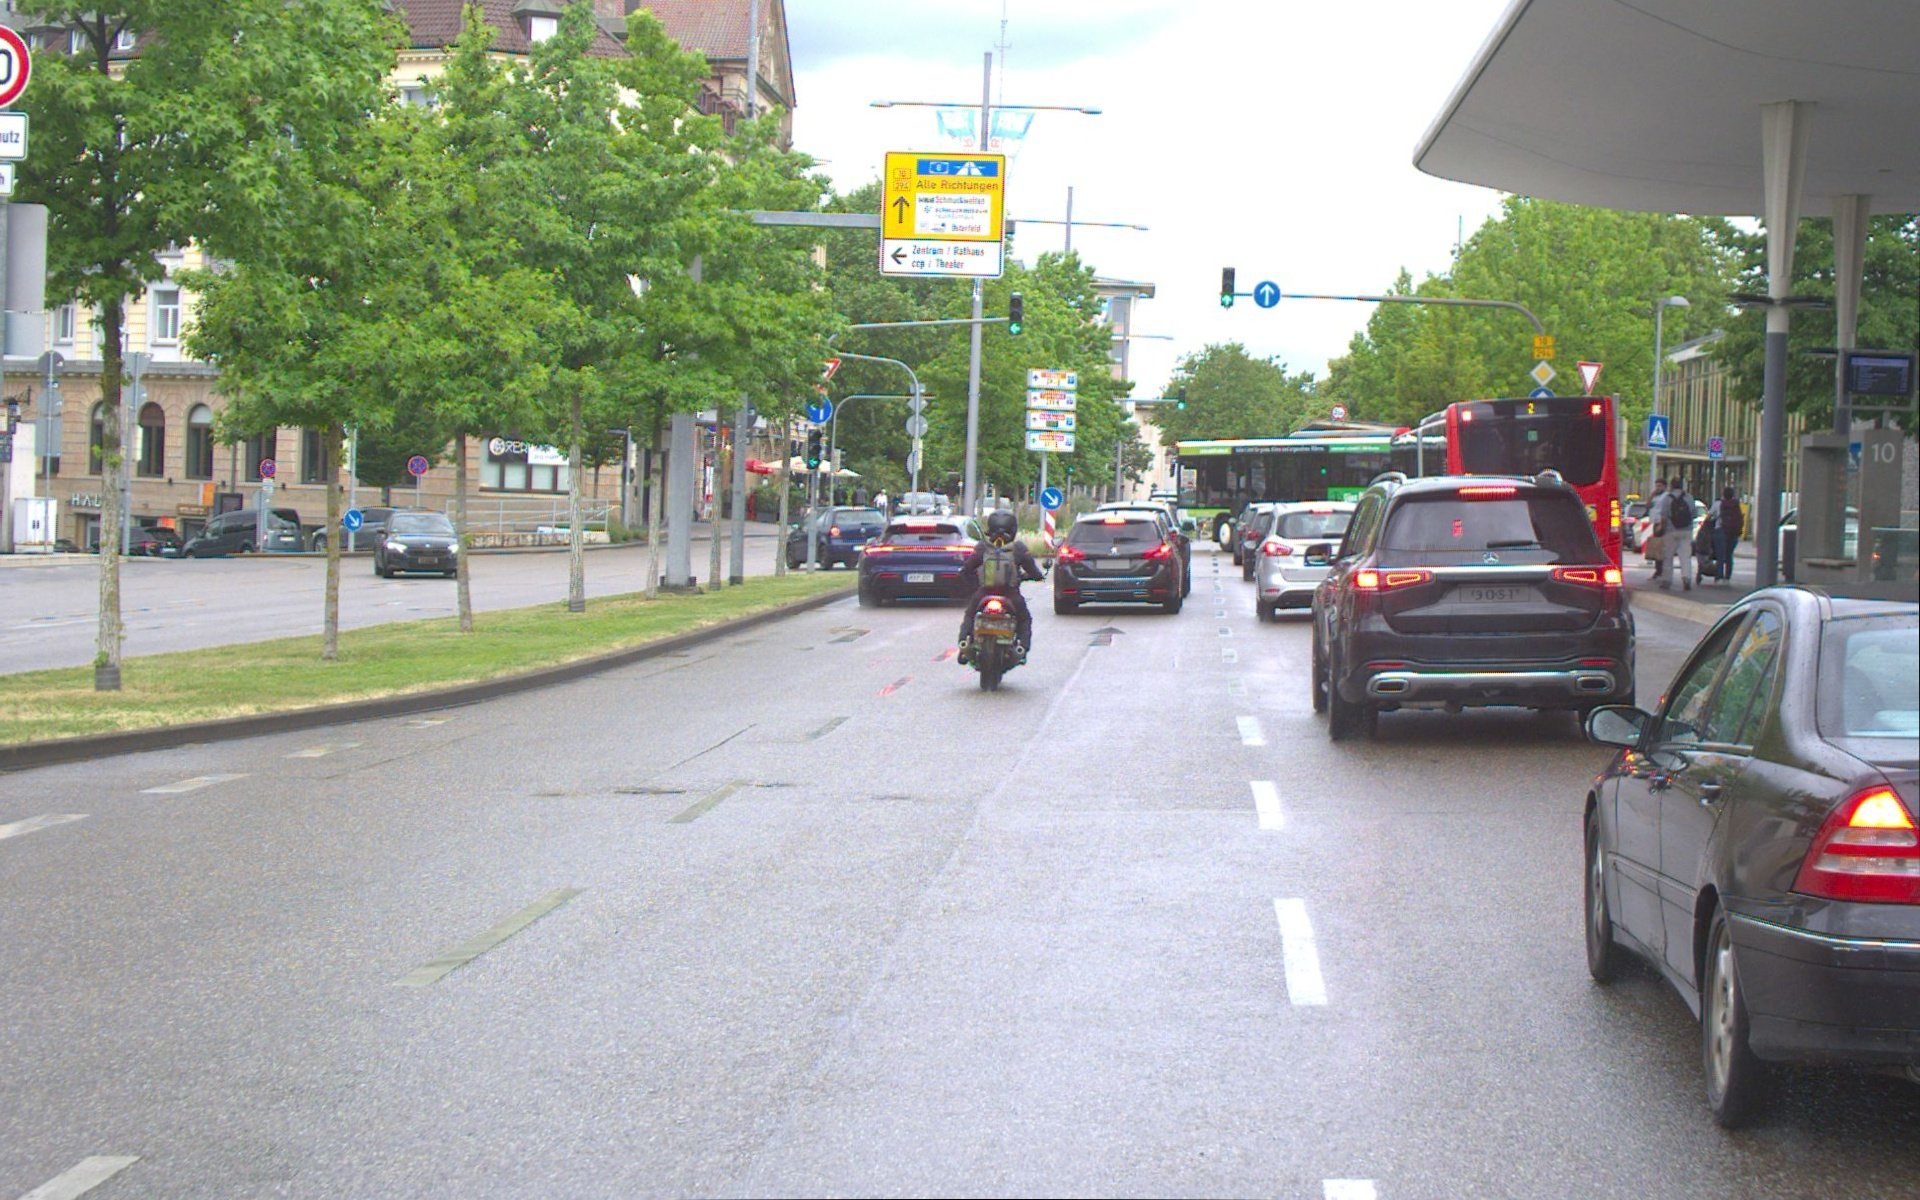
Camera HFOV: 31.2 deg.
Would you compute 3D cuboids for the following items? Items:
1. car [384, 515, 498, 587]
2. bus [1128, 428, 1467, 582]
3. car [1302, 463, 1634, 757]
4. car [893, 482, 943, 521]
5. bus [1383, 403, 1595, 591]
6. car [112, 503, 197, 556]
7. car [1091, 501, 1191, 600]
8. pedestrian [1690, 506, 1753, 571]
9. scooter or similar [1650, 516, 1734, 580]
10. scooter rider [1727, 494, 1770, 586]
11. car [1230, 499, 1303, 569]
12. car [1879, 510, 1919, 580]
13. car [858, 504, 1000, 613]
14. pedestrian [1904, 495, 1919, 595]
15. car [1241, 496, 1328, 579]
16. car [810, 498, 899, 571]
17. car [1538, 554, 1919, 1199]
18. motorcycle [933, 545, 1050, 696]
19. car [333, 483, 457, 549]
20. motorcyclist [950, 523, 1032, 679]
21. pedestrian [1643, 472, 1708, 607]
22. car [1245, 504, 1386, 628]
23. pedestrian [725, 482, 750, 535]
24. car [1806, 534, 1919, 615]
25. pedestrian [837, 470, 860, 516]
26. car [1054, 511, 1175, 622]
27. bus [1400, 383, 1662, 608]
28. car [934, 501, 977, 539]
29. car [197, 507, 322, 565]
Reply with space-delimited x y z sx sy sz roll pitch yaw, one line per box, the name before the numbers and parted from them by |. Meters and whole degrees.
car | -11.441 -1.097 76.011 1.680 1.522 4.639 1 1 2
bus | 9.132 -2.623 95.165 2.837 3.974 11.865 0 1 -30
car | 3.515 -0.007 24.608 1.957 1.869 4.873 -1 2 4
car | -1.729 -4.105 142.778 1.780 1.562 3.429 -1 2 4
bus | 9.809 -1.935 64.656 3.291 3.277 8.848 0 2 5
car | -26.170 -2.303 111.678 1.658 1.599 3.252 -3 3 -32
car | 3.056 -0.851 57.417 1.576 1.562 3.871 -1 2 4
pedestrian | 12.381 -1.000 55.886 0.914 0.981 0.633 2 -3 18
scooter or similar | 11.941 -0.846 56.078 1.244 1.009 0.763 1 1 18
scooter rider | 12.801 -0.974 55.813 0.592 1.485 0.764 1 1 18
car | 7.070 -1.545 79.486 1.576 1.562 3.796 -1 2 4
car | 22.484 -1.265 79.391 1.540 1.554 3.409 2 2 0
car | -0.438 -0.671 52.830 1.816 1.565 4.403 -1 2 4
pedestrian | 16.223 -0.918 57.700 0.575 1.672 0.582 1 1 30
car | 6.360 -1.258 67.644 1.576 1.562 3.871 -1 2 4
car | -2.463 -1.517 79.757 1.836 1.622 3.706 1 1 -5
car | 2.760 0.635 9.770 1.698 1.457 4.304 0 2 3
motorcycle | 0.289 0.161 30.121 0.793 1.258 1.854 0 2 8
car | -16.017 -2.391 97.286 1.865 1.678 4.000 5 -1 -34
motorcyclist | 0.278 0.001 30.284 0.641 1.342 0.688 1 1 7
pedestrian | 11.020 -0.927 52.950 0.778 2.007 0.781 4 0 17
car | 4.775 -0.493 46.569 1.741 1.562 3.871 -1 2 4
pedestrian | -8.494 -3.493 131.181 0.724 2.007 0.826 0 2 -22
car | 20.029 -0.590 76.089 1.712 1.656 4.239 2 2 3
pedestrian | -4.791 -4.608 147.891 0.724 1.959 0.826 0 2 -22
car | 2.252 -0.509 49.428 1.576 1.499 3.870 -1 2 5
bus | 9.071 -1.685 55.856 3.287 3.280 10.876 0 2 5
car | -0.182 -3.476 148.984 1.576 1.562 3.429 -1 2 4
car | -21.960 -2.018 107.709 2.113 1.770 4.391 -1 2 -38
